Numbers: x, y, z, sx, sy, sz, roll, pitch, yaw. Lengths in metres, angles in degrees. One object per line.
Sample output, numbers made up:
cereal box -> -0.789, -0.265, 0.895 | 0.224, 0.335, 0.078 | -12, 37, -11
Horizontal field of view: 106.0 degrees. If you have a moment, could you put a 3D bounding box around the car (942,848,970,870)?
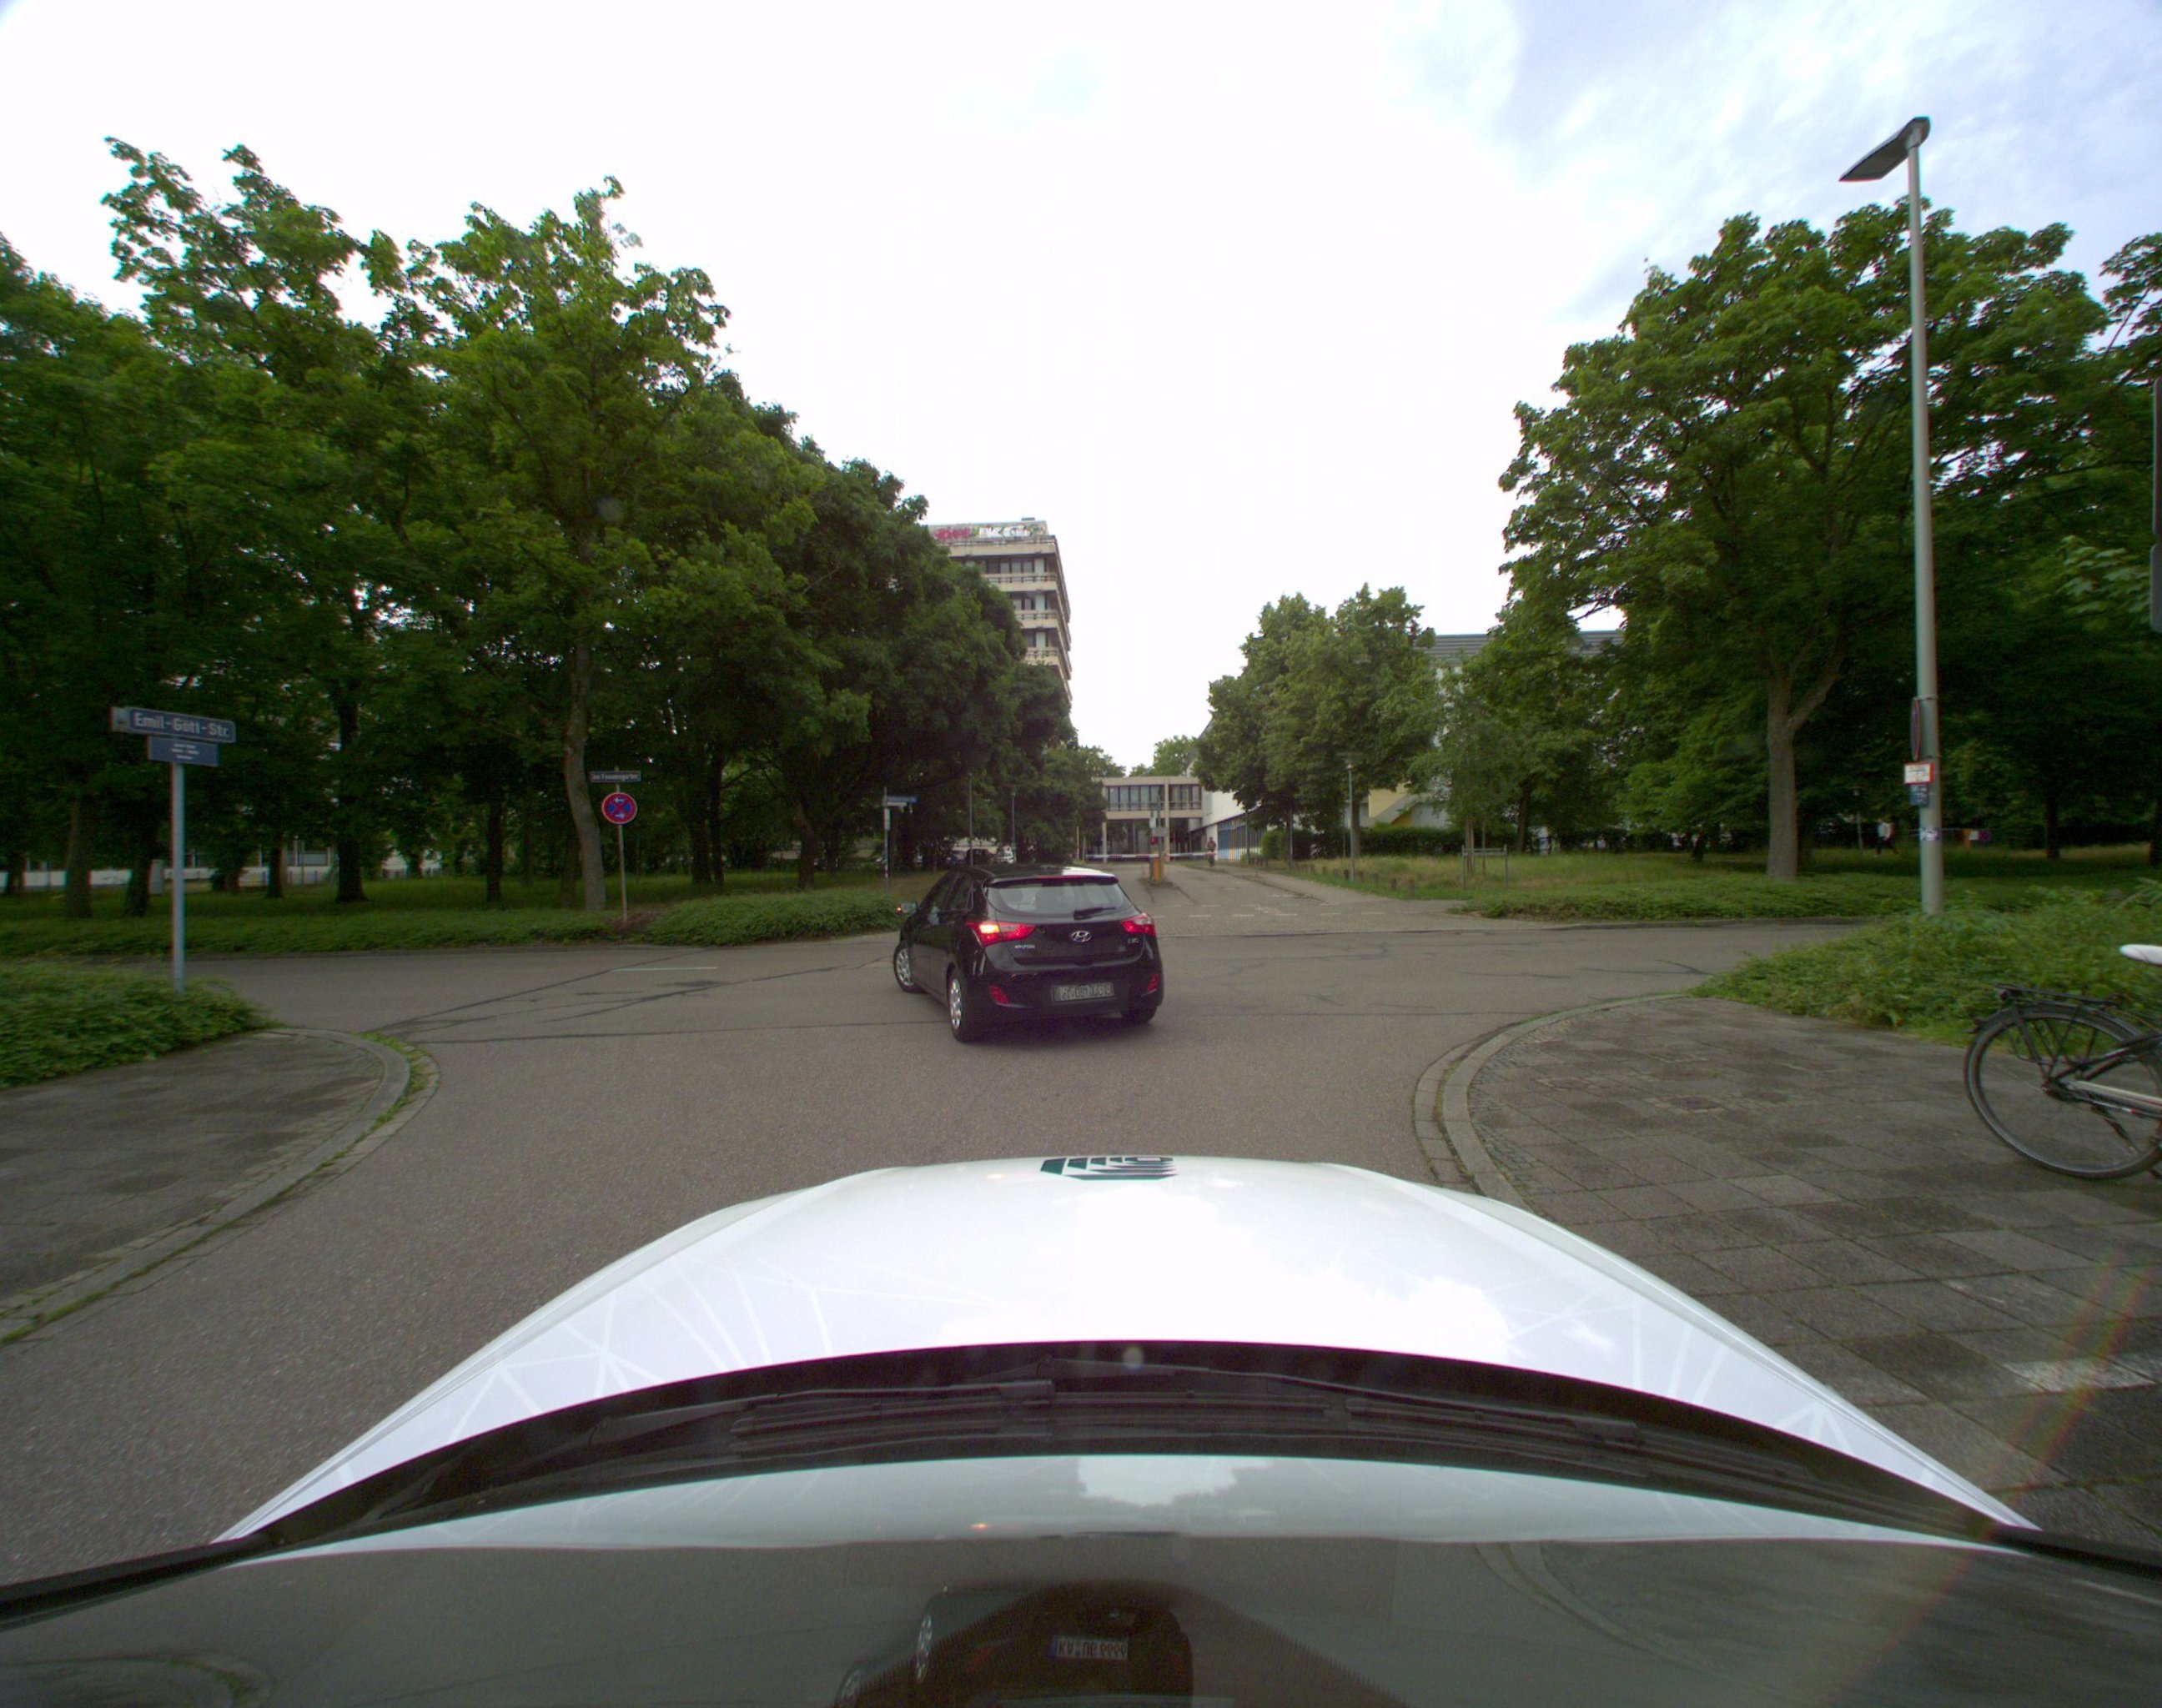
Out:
car -> -10.889, 0.465, 71.201 | 1.989, 1.794, 3.995 | -1, -2, -3

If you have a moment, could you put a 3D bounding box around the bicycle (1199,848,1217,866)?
bicycle -> 7.757, 0.184, 49.750 | 0.863, 1.074, 2.143 | -1, 1, 2

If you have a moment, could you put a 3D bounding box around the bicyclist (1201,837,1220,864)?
bicyclist -> 7.861, -0.205, 49.619 | 1.013, 1.644, 0.924 | -1, 0, 2

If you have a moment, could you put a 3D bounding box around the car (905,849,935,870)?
car -> -13.992, 0.515, 70.911 | 1.989, 1.728, 3.995 | -1, -2, -3

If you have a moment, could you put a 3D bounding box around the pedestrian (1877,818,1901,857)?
pedestrian -> 37.855, -0.766, 38.154 | 0.567, 1.798, 0.545 | -1, 1, 11

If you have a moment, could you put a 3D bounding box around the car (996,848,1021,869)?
car -> -6.309, 0.389, 71.205 | 1.989, 1.762, 3.996 | -1, -1, -3

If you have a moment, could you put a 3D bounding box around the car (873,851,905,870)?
car -> -16.702, 0.564, 71.014 | 1.989, 1.618, 3.996 | -1, 0, -3

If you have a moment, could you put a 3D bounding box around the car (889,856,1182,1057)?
car -> -0.718, 0.779, 8.141 | 1.853, 1.462, 3.800 | -1, 0, -21

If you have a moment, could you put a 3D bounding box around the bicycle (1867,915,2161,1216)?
bicycle -> 4.146, 0.790, 3.028 | 0.565, 1.004, 1.888 | -3, -2, 1
